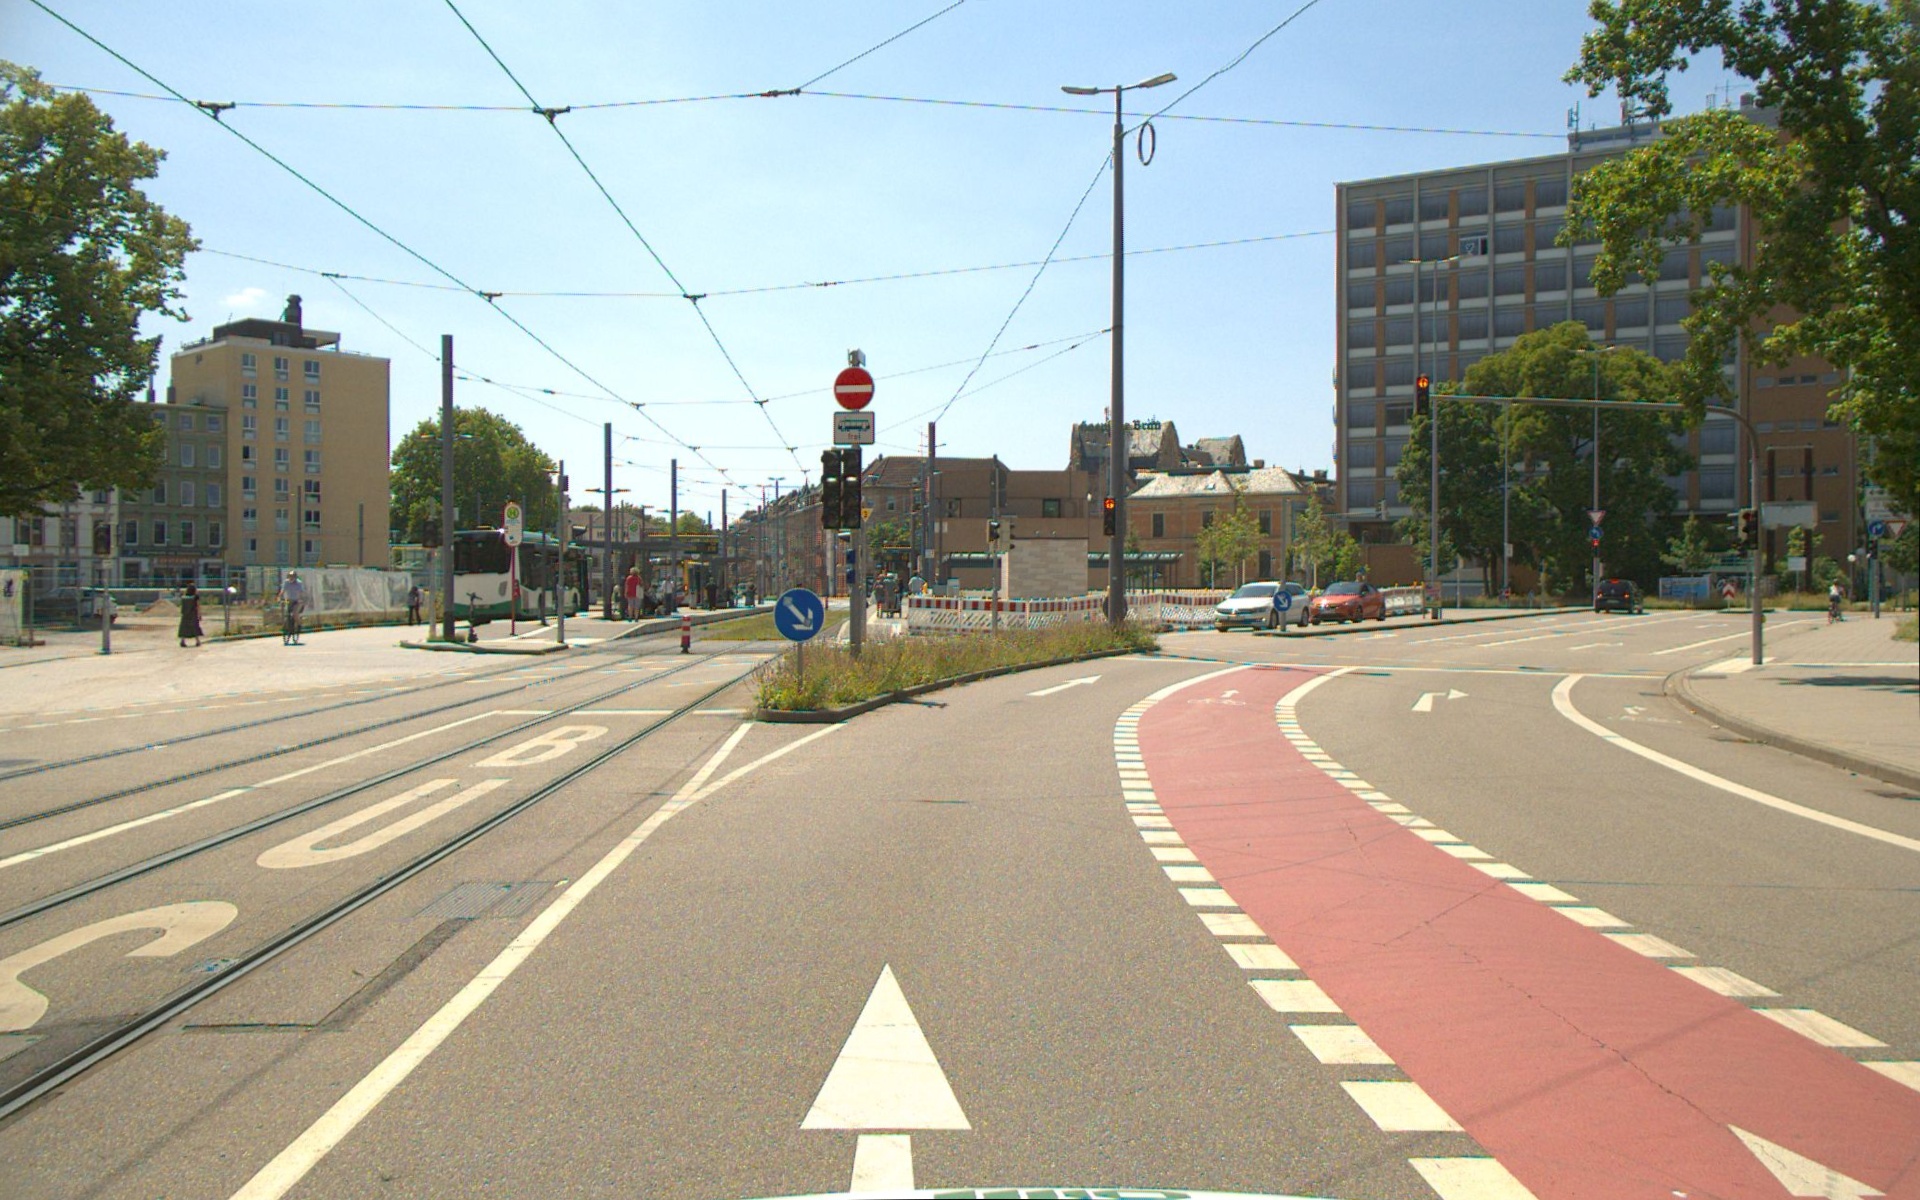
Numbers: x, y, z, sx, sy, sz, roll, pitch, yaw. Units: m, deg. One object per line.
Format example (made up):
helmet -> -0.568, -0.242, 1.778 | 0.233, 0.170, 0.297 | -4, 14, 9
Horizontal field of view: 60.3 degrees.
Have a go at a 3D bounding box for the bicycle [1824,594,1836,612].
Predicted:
bicycle -> 33.645, 0.100, 63.995 | 0.369, 0.657, 1.643 | 0, 1, 26

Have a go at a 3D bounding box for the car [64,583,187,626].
car -> -33.497, 0.171, 66.406 | 4.093, 1.678, 1.853 | 0, 1, 10

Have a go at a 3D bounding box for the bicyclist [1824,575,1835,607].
bicyclist -> 33.645, -0.342, 63.980 | 0.345, 1.249, 0.563 | 0, 1, 26

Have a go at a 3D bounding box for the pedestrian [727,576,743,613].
pedestrian -> -13.061, -0.335, 96.065 | 0.812, 2.133, 0.901 | -1, 1, -3

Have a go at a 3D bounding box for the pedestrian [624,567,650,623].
pedestrian -> -11.865, -0.197, 60.760 | 0.925, 2.025, 1.025 | -1, 1, -12

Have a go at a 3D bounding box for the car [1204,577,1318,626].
car -> 9.401, 0.034, 51.377 | 1.957, 1.463, 4.694 | 0, 0, 32

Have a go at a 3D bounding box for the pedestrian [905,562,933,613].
pedestrian -> -1.550, -0.461, 62.188 | 0.761, 1.897, 0.719 | 1, -1, -43

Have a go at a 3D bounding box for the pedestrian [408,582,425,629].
pedestrian -> -20.534, 0.203, 62.497 | 0.556, 1.735, 0.397 | -1, 1, -10

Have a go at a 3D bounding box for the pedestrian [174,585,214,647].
pedestrian -> -20.378, 0.417, 44.028 | 0.593, 1.630, 0.826 | 0, 1, 8

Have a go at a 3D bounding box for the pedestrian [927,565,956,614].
pedestrian -> -0.720, -0.408, 63.435 | 0.961, 1.864, 0.631 | -1, 1, -17

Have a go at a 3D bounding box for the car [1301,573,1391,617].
car -> 13.514, -0.178, 57.792 | 1.701, 1.450, 4.110 | 0, 0, 34

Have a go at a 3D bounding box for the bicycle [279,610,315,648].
bicycle -> -17.293, 0.740, 43.176 | 0.495, 0.930, 2.362 | -1, 1, -13

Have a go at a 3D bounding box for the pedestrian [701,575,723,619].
pedestrian -> -12.227, -0.150, 81.469 | 0.880, 2.133, 0.832 | -1, 1, 3

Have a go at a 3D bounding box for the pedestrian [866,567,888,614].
pedestrian -> -3.120, -0.353, 62.371 | 0.714, 1.736, 0.741 | 0, 0, -14

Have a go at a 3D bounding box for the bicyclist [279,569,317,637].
bicyclist -> -17.296, 0.070, 43.220 | 0.807, 1.739, 0.768 | -1, 1, -14

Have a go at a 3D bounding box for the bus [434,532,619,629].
bus -> -16.279, -0.756, 64.007 | 2.949, 3.213, 17.493 | 0, 1, -1

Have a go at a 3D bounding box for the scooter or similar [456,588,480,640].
scooter or similar -> -11.845, 0.325, 39.837 | 0.312, 1.227, 1.247 | -1, 1, -7

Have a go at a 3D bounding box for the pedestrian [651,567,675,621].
pedestrian -> -11.842, -0.245, 65.880 | 0.884, 2.133, 0.829 | -1, 1, -13

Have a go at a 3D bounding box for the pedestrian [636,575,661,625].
pedestrian -> -11.759, 0.003, 62.471 | 0.895, 1.884, 0.656 | -1, 1, -12

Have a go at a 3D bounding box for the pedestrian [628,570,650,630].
pedestrian -> -10.517, -0.013, 54.191 | 0.661, 1.943, 0.639 | -1, 1, -12

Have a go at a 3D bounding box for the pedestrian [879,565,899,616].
pedestrian -> -2.734, -0.367, 63.402 | 0.705, 1.957, 1.073 | 0, 0, -7

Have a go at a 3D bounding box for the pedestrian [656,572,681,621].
pedestrian -> -12.922, -0.160, 73.376 | 0.880, 2.133, 0.832 | -1, 1, 3

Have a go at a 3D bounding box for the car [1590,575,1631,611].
car -> 29.159, -0.314, 74.079 | 1.654, 1.553, 3.689 | 0, 1, 23

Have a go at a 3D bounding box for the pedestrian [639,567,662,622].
pedestrian -> -12.168, -0.225, 65.009 | 0.810, 2.133, 0.639 | -1, 0, -14

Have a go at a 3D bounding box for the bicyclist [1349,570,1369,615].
bicyclist -> 15.503, -0.292, 64.297 | 0.558, 1.749, 0.504 | -1, 0, 39
